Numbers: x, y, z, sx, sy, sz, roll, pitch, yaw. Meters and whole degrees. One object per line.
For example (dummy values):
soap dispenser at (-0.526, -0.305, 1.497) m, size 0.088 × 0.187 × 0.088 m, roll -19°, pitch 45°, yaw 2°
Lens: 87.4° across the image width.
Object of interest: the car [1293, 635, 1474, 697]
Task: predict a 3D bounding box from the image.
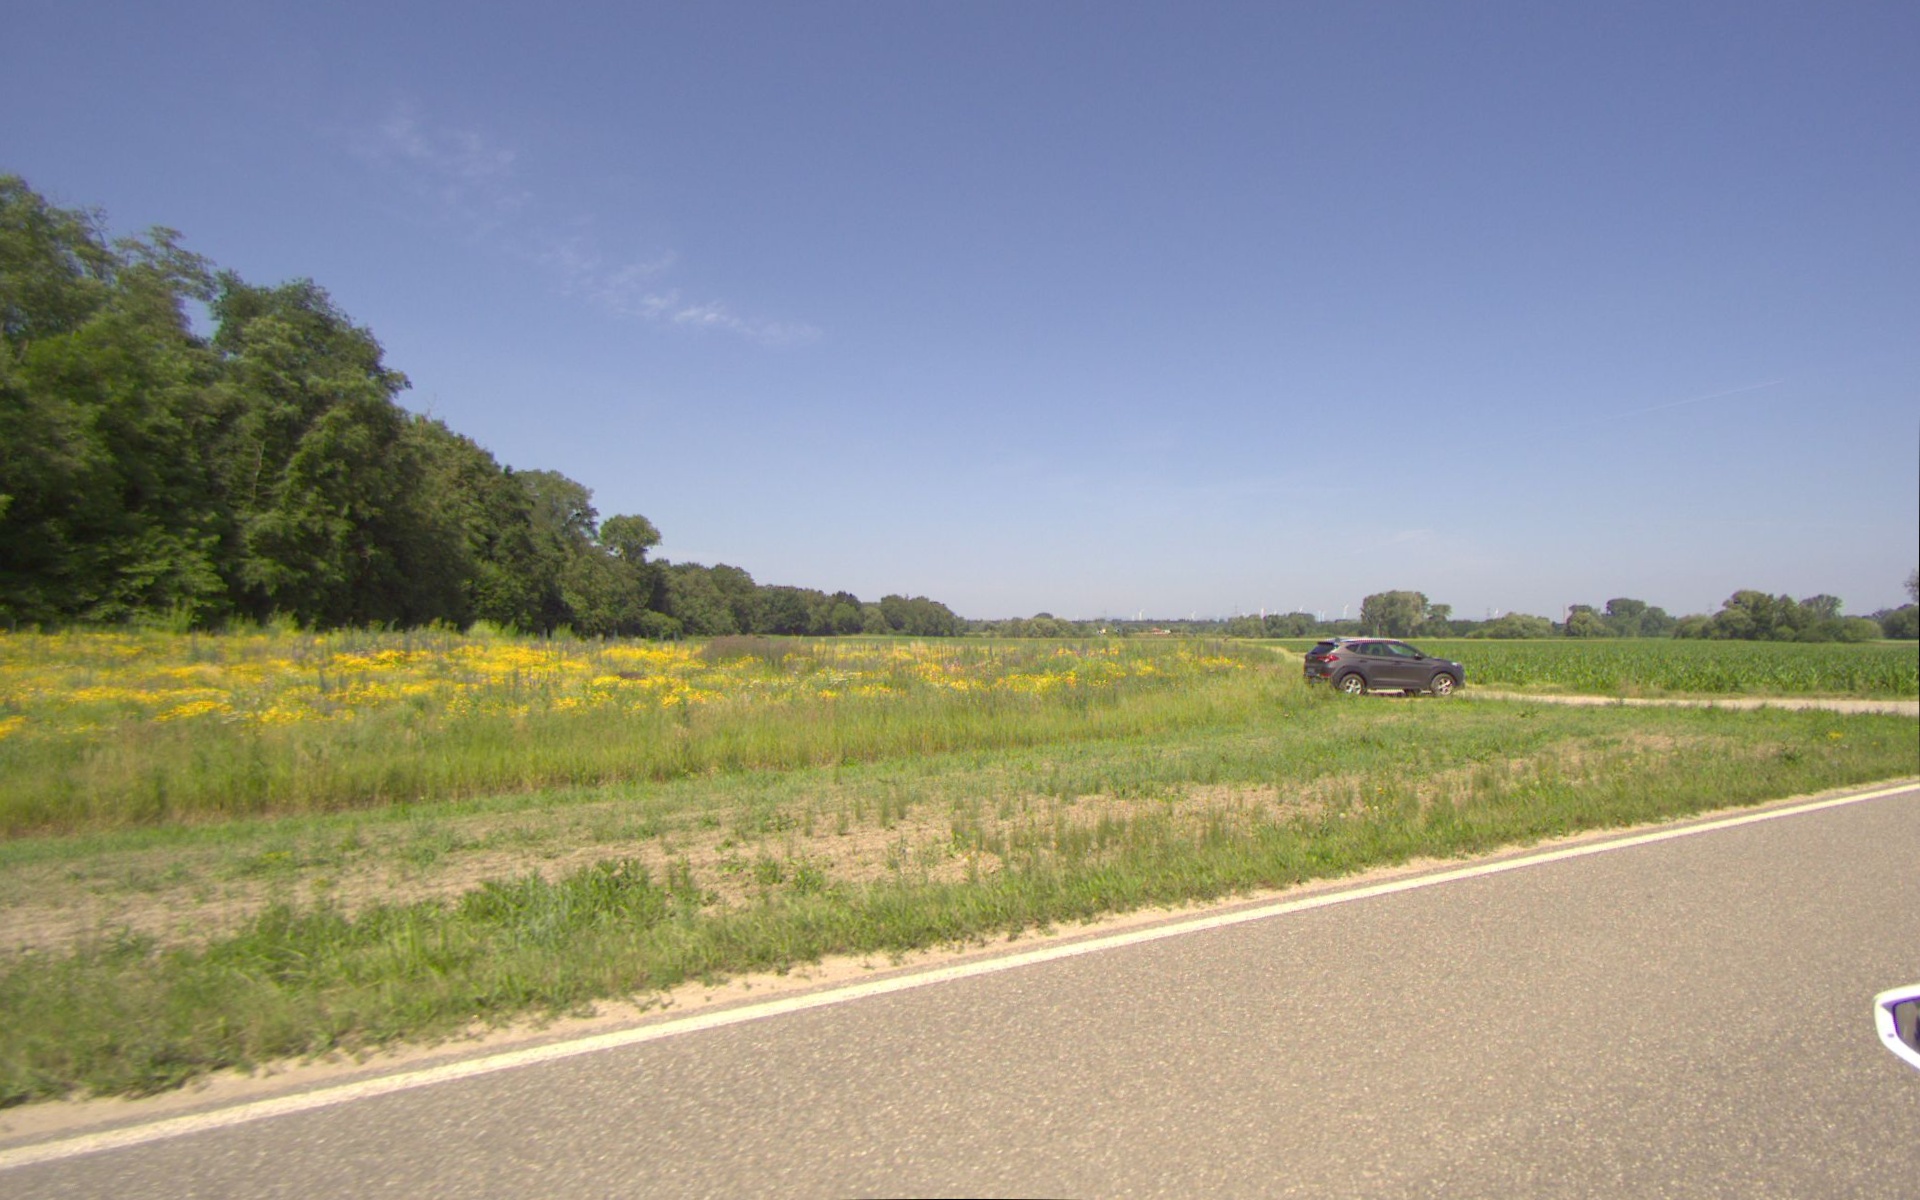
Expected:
car at (12.038, 1.849, 28.679) m, size 4.442 × 1.673 × 1.758 m, roll 0°, pitch -2°, yaw -4°
